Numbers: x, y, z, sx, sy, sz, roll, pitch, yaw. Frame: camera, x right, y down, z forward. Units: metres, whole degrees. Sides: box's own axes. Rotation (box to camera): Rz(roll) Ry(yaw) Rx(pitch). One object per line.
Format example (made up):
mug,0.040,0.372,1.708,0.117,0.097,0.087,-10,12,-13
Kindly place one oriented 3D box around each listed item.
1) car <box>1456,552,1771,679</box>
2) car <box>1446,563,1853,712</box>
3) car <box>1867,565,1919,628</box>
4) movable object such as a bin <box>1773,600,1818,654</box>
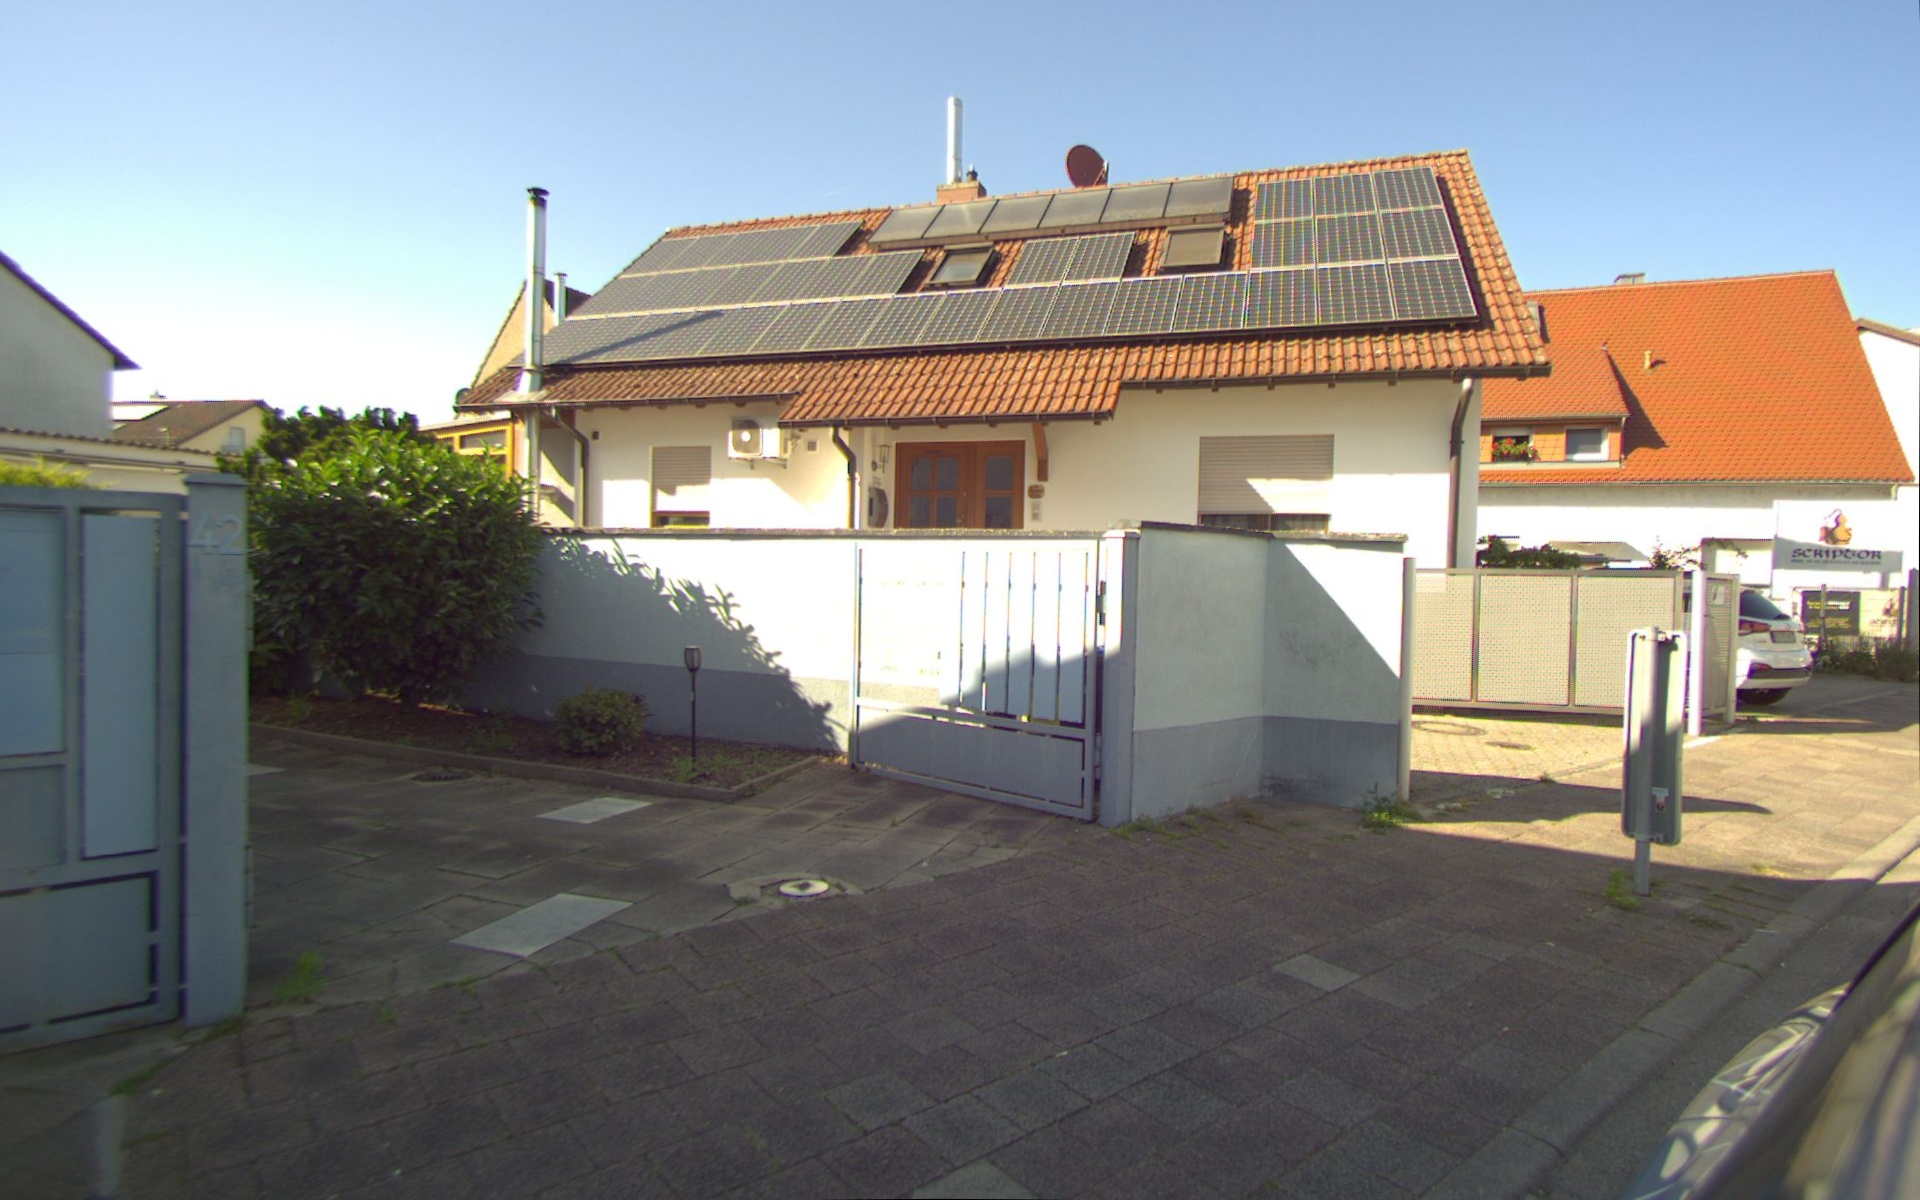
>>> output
car,10.281,0.160,16.354,4.011,1.709,1.894,3,2,27
car,8.679,0.345,13.129,1.809,1.510,3.933,0,3,-28
car,32.036,0.007,32.043,4.767,1.909,1.878,6,5,45
movable object such as a bin,14.706,0.464,17.824,0.511,0.934,0.419,0,1,24
